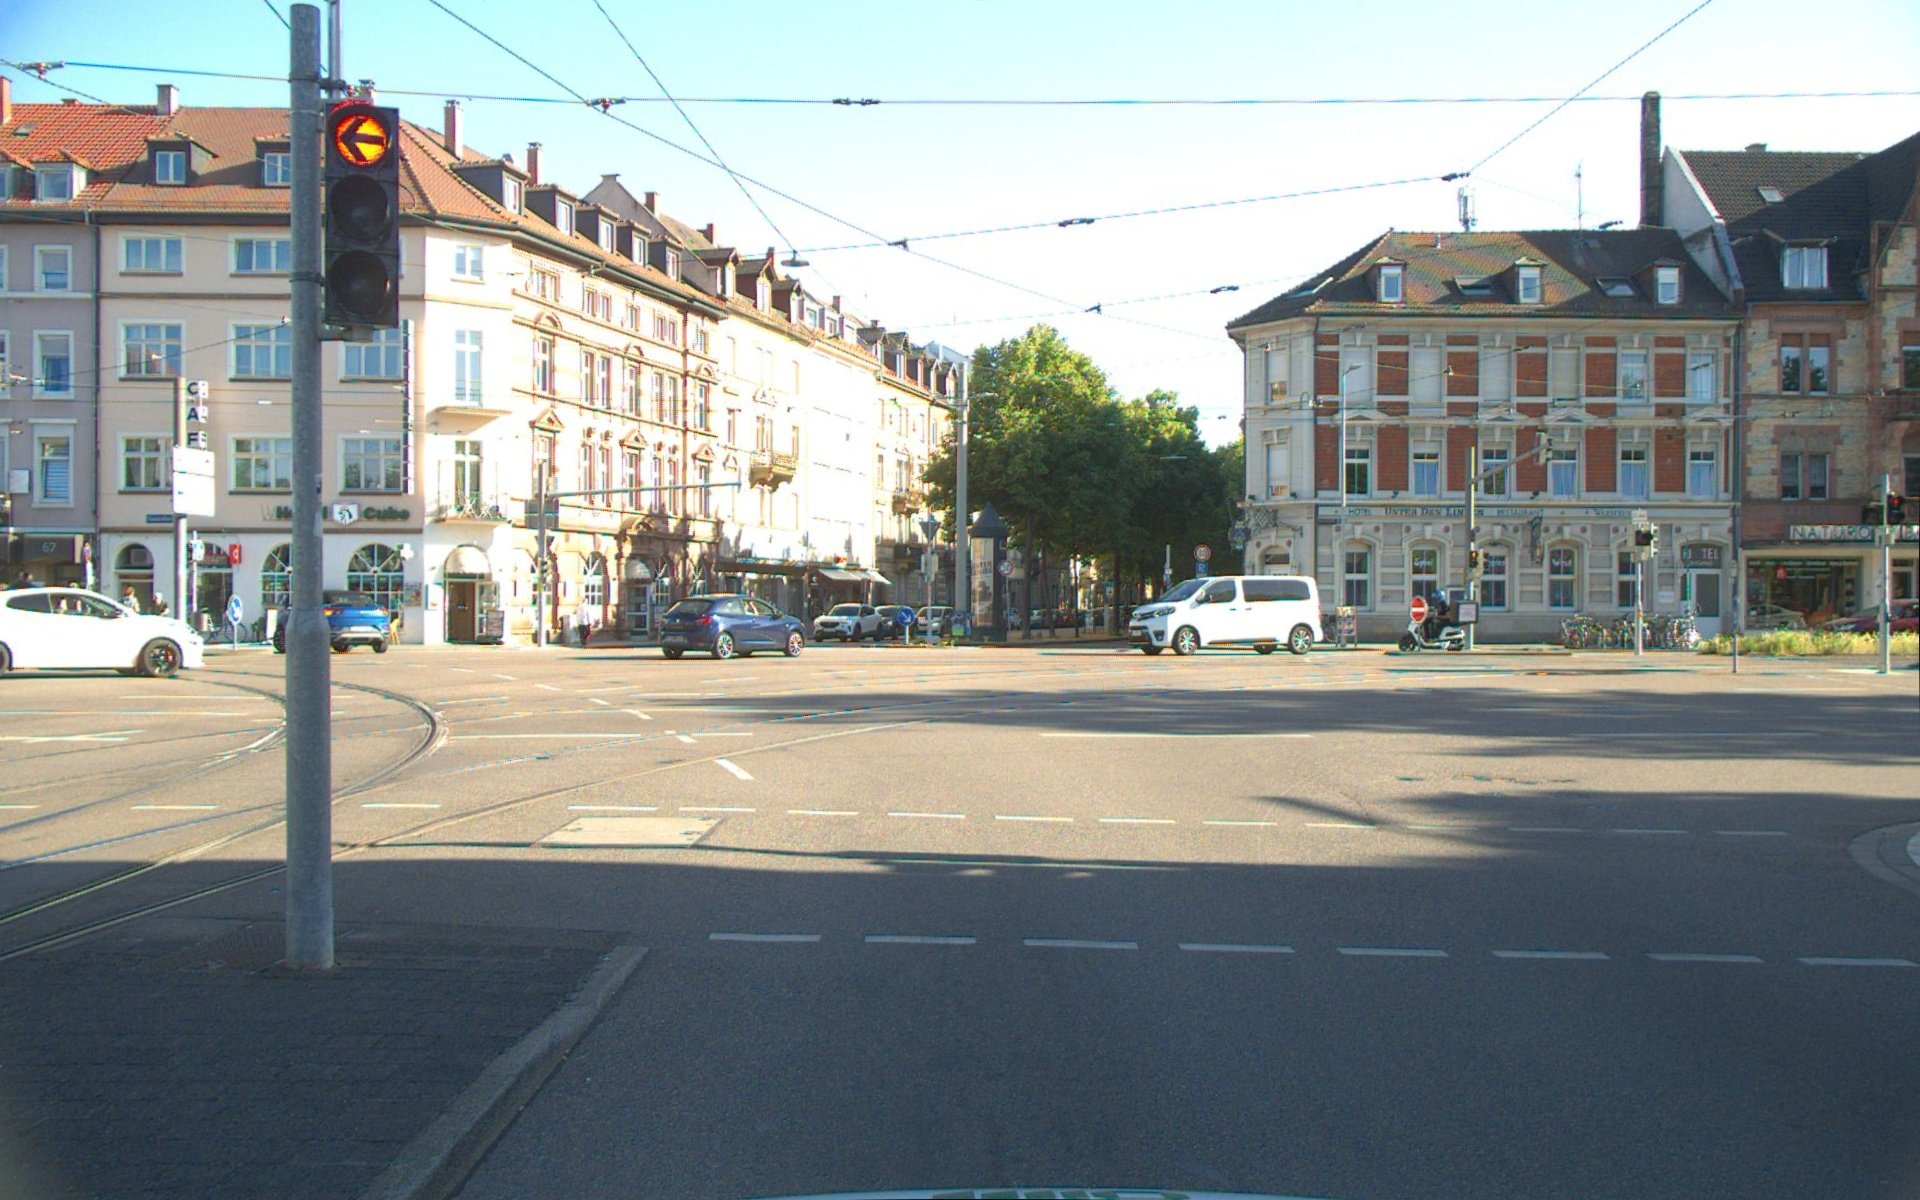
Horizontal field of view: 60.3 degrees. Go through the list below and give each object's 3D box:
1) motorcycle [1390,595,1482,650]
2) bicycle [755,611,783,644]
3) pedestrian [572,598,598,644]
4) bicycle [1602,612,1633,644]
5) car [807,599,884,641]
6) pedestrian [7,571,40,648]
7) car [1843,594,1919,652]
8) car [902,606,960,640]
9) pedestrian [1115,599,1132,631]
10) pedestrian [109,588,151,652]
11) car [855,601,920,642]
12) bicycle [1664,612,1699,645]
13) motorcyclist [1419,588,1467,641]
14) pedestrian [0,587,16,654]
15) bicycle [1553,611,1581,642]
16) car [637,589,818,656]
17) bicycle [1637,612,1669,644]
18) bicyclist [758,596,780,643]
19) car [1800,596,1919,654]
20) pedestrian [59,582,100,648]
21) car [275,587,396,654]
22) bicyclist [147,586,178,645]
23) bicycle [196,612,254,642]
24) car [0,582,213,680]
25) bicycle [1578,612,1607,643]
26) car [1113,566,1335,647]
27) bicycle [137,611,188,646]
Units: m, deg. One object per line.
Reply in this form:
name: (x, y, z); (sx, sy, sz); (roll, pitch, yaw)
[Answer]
motorcycle: (12.109, 0.578, 42.093); (2.092, 1.357, 0.797); (1, 0, -1)
bicycle: (-7.505, 1.062, 65.144); (0.553, 1.276, 1.558); (1, 0, 14)
pedestrian: (-13.778, 0.776, 60.787); (0.556, 1.671, 0.792); (1, -1, 22)
bicycle: (21.342, 0.889, 53.695); (0.749, 1.001, 2.211); (1, 0, 17)
car: (-4.613, 0.812, 67.185); (1.764, 1.613, 4.162); (1, 0, 16)
pedestrian: (-22.843, 0.241, 40.336); (0.518, 1.854, 0.674); (1, -1, -16)
car: (28.579, 0.700, 48.993); (3.905, 1.650, 1.804); (1, 0, 0)
car: (-1.375, 1.103, 80.066); (1.764, 1.603, 3.893); (1, 0, 15)
pedestrian: (10.648, 0.985, 107.733); (0.923, 2.049, 0.827); (1, -1, 13)
pedestrian: (-21.266, 0.503, 42.381); (0.655, 1.622, 0.815); (1, -1, -1)
car: (-3.188, 0.938, 73.541); (1.786, 1.715, 3.877); (1, 0, 16)
bicycle: (23.342, 0.910, 53.544); (0.775, 1.033, 2.211); (1, 0, 17)
motorcyclist: (12.289, 0.369, 42.099); (0.994, 1.323, 0.789); (1, 0, -1)
pedestrian: (-24.446, 0.509, 41.950); (0.561, 1.677, 0.727); (1, -1, -1)
bicycle: (19.809, 0.863, 54.025); (0.749, 0.979, 2.211); (1, 0, 17)
car: (-5.169, 0.477, 37.193); (1.795, 1.428, 3.984); (0, 0, 36)
bicycle: (22.451, 0.895, 53.637); (0.749, 1.025, 2.221); (1, 0, 17)
bicyclist: (-7.508, 0.772, 65.154); (0.553, 1.835, 0.915); (1, -1, 14)
car: (24.001, 0.641, 42.719); (3.790, 1.451, 1.595); (1, 1, -1)
pedestrian: (-22.748, 0.395, 42.741); (0.571, 1.677, 0.840); (1, -1, -1)
car: (-15.816, 0.478, 41.785); (1.812, 1.602, 4.144); (0, 0, -37)
bicyclist: (-24.772, 0.480, 51.390); (0.608, 1.822, 0.615); (1, -1, 4)
bicycle: (-25.095, 0.919, 56.497); (1.666, 1.000, 0.611); (1, 0, -1)
car: (-14.598, 0.471, 27.058); (3.973, 1.479, 1.870); (-1, 1, -42)
bicycle: (20.563, 0.876, 53.788); (0.749, 0.985, 2.211); (1, 0, 17)
car: (6.503, 0.161, 40.672); (5.125, 1.886, 1.987); (0, 0, -22)
bicycle: (-24.781, 0.874, 51.403); (0.608, 1.048, 1.755); (1, 0, 4)
